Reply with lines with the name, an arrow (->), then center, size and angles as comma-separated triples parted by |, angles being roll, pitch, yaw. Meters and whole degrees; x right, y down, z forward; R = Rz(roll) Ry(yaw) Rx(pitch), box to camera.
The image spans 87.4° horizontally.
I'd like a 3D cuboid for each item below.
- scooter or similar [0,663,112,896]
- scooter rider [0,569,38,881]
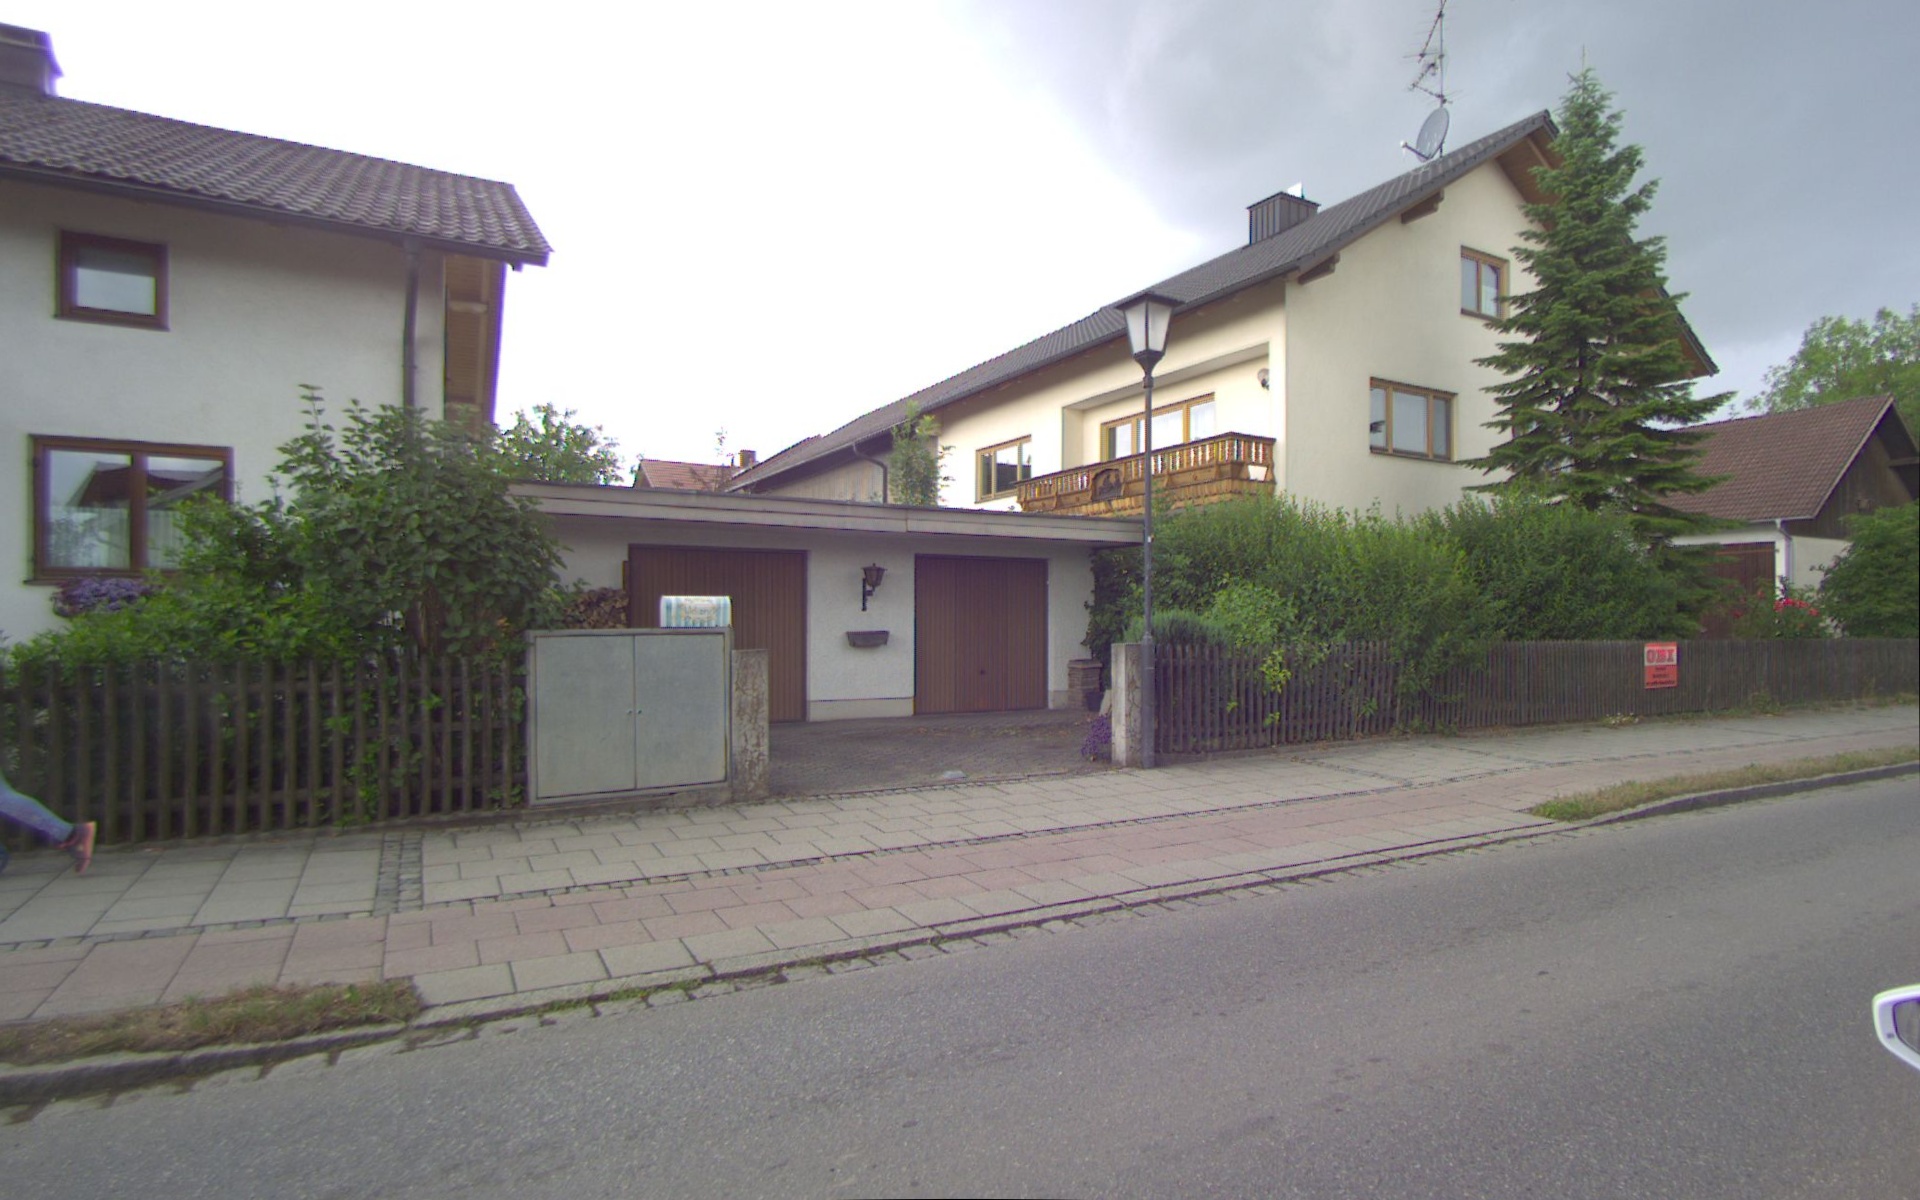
scooter or similar -> -4.897, 0.847, 4.795 | 1.164, 1.051, 0.658 | 1, -1, -29
scooter rider -> -4.902, 0.594, 4.792 | 0.573, 1.492, 0.659 | 1, 0, -29
